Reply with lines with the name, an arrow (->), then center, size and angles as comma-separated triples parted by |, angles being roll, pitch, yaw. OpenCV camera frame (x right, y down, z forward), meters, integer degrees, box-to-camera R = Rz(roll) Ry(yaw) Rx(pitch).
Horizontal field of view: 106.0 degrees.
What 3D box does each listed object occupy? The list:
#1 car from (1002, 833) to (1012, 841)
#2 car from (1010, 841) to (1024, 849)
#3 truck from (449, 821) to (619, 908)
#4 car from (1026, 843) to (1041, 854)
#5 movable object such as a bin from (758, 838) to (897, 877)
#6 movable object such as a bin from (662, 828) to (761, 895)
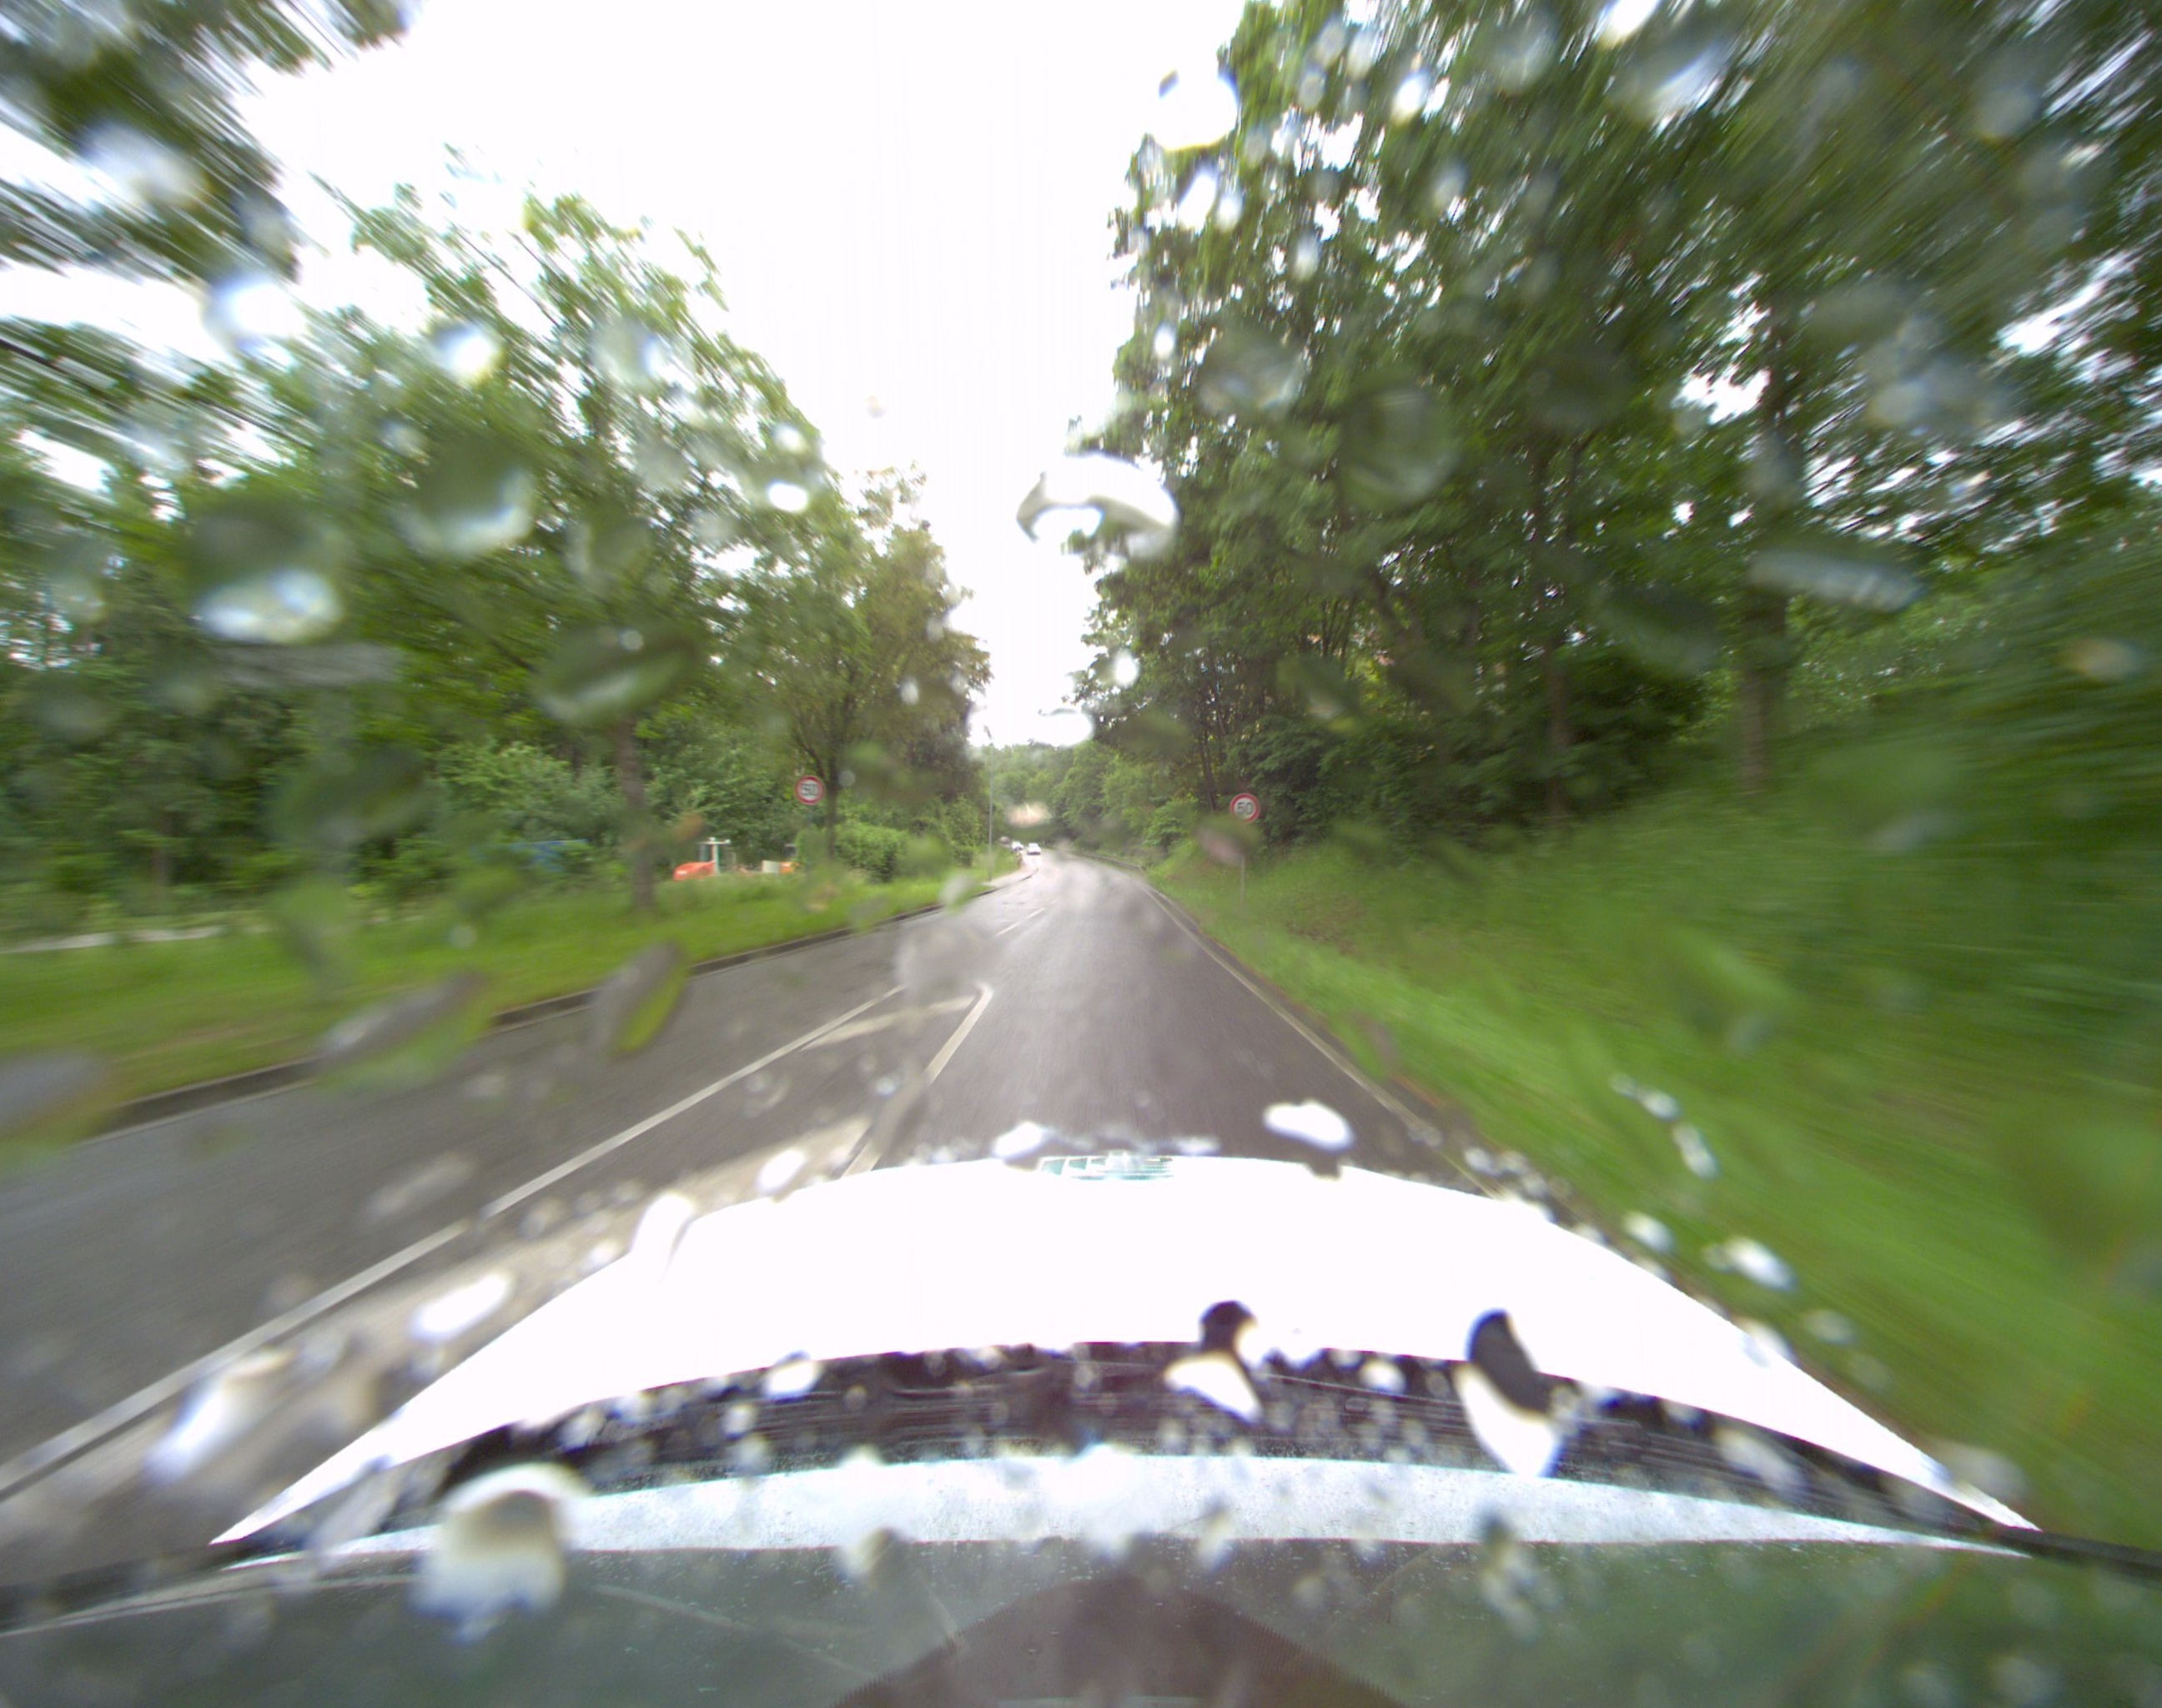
car -> -15.340, -3.575, 169.862 | 1.732, 1.510, 3.998 | -1, 1, -1
car -> -11.574, -1.606, 146.424 | 1.818, 1.434, 3.979 | -1, 0, -16
truck -> -17.308, 0.250, 26.185 | 1.988, 2.457, 5.220 | 1, 1, -1
car -> -7.451, -0.859, 127.732 | 1.815, 1.648, 4.116 | -1, 0, -10
movable object such as a bin -> -13.568, 0.146, 44.392 | 1.828, 1.907, 7.958 | 0, 0, 32
movable object such as a bin -> -16.907, 0.324, 37.528 | 1.979, 2.861, 4.017 | 1, 0, 16
